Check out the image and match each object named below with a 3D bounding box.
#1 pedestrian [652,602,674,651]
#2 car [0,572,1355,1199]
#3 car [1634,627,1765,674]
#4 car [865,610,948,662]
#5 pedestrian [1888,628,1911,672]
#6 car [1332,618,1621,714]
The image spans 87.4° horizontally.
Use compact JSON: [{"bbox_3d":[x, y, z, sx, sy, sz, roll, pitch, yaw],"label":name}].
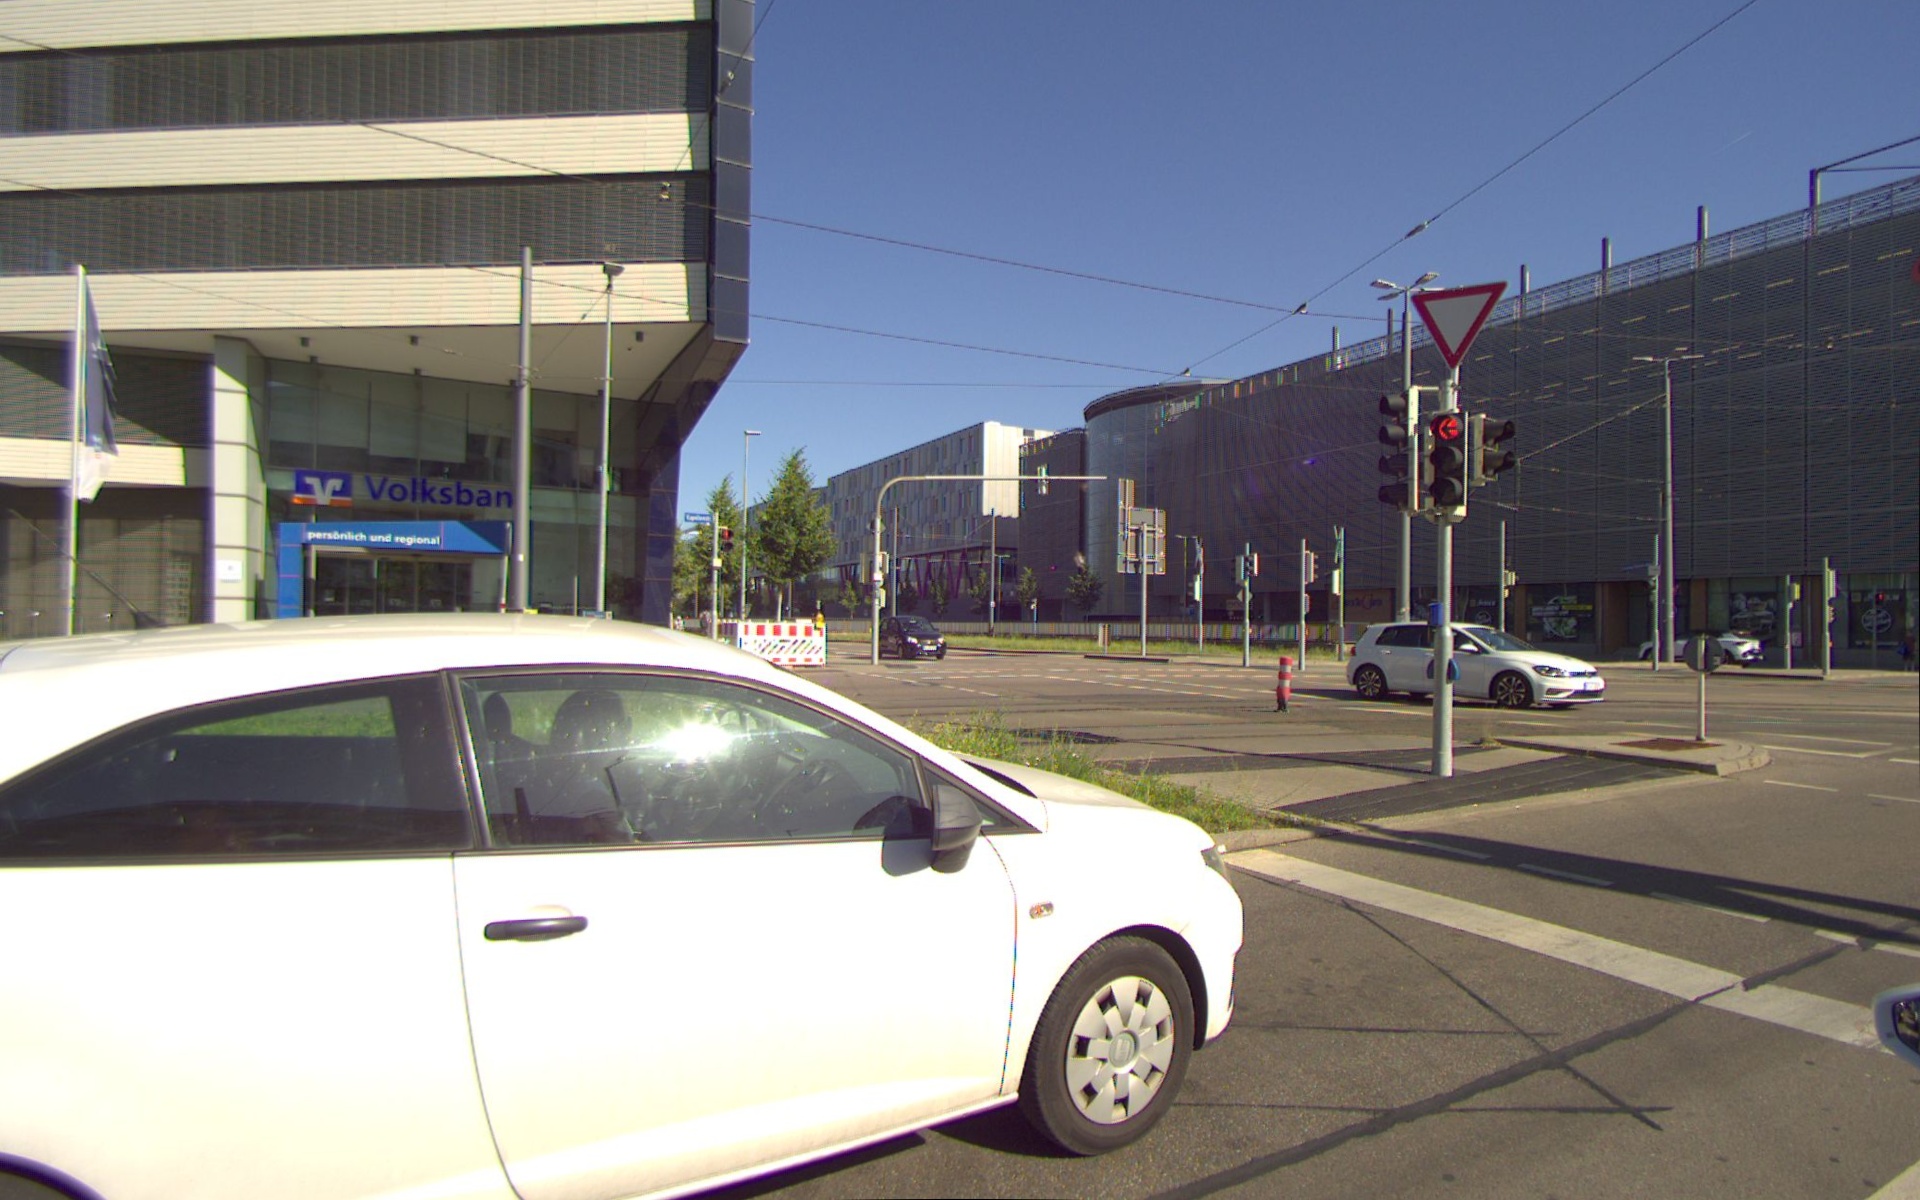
[{"bbox_3d":[-10.538,0.939,35.627,0.729,1.719,0.805,0,-2,-20],"label":"pedestrian"},{"bbox_3d":[-0.957,0.736,2.791,3.977,1.460,1.723,2,1,-31],"label":"car"},{"bbox_3d":[32.504,2.196,44.283,1.819,1.887,4.306,2,-1,-30],"label":"car"},{"bbox_3d":[-1.935,1.231,35.365,1.562,1.729,3.526,1,-2,-29],"label":"car"},{"bbox_3d":[39.967,2.118,42.731,0.687,1.821,0.726,-2,-3,44],"label":"pedestrian"},{"bbox_3d":[9.008,1.067,17.868,1.845,1.492,4.258,1,-1,-33],"label":"car"}]
